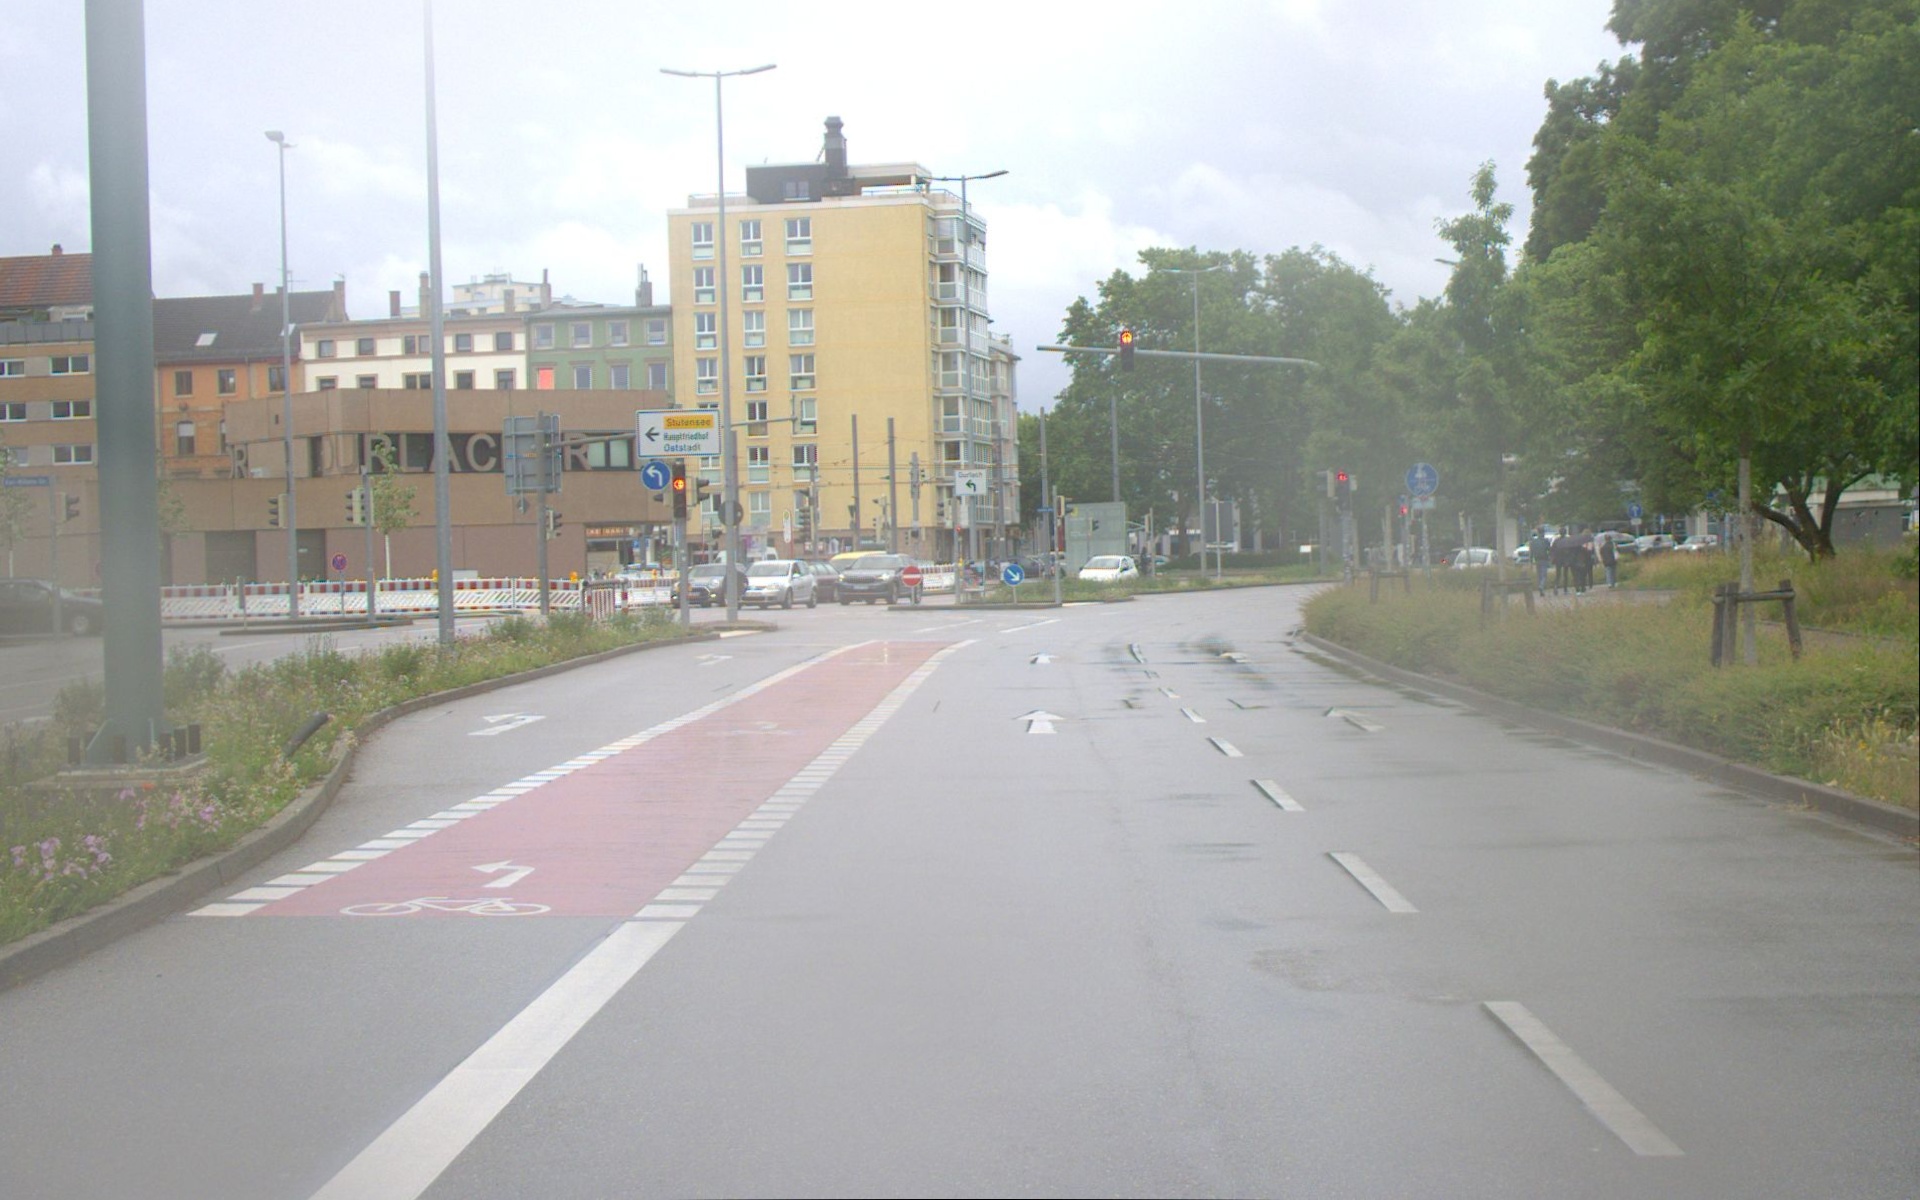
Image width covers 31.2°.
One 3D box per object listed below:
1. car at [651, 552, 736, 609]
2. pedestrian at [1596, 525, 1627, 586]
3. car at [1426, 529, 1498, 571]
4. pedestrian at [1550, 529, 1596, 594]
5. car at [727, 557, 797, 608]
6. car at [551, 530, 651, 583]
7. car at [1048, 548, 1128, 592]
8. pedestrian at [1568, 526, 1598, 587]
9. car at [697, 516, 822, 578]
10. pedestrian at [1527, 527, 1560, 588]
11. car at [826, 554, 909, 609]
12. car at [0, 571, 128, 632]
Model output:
[{"bbox_3d":[-8.448,-0.625,109.340,1.706,1.700,3.818,-1,1,11],"label":"car"},{"bbox_3d":[17.084,-1.172,90.127,0.703,1.582,0.936,-1,1,14],"label":"pedestrian"},{"bbox_3d":[20.755,-2.093,141.965,1.792,1.637,4.154,-1,1,25],"label":"car"},{"bbox_3d":[15.271,-0.960,85.636,1.023,1.582,0.936,-1,1,14],"label":"pedestrian"},{"bbox_3d":[-5.862,-0.535,102.104,1.679,1.399,4.158,-2,1,2],"label":"car"},{"bbox_3d":[-20.908,-2.535,200.335,5.352,2.877,2.338,-2,1,6],"label":"car"},{"bbox_3d":[4.873,-1.151,130.483,1.681,1.496,3.864,-2,1,24],"label":"car"},{"bbox_3d":[16.372,-1.156,90.333,0.703,1.582,0.936,-1,1,14],"label":"pedestrian"},{"bbox_3d":[-11.604,-3.085,199.033,6.743,3.368,2.809,-2,1,6],"label":"car"},{"bbox_3d":[15.401,-1.137,90.776,0.754,1.582,0.936,-1,1,14],"label":"pedestrian"},{"bbox_3d":[-3.006,-0.617,112.654,1.994,1.630,4.602,-3,1,6],"label":"car"},{"bbox_3d":[-22.847,0.048,84.934,4.191,1.397,1.618,-2,1,-3],"label":"car"}]
